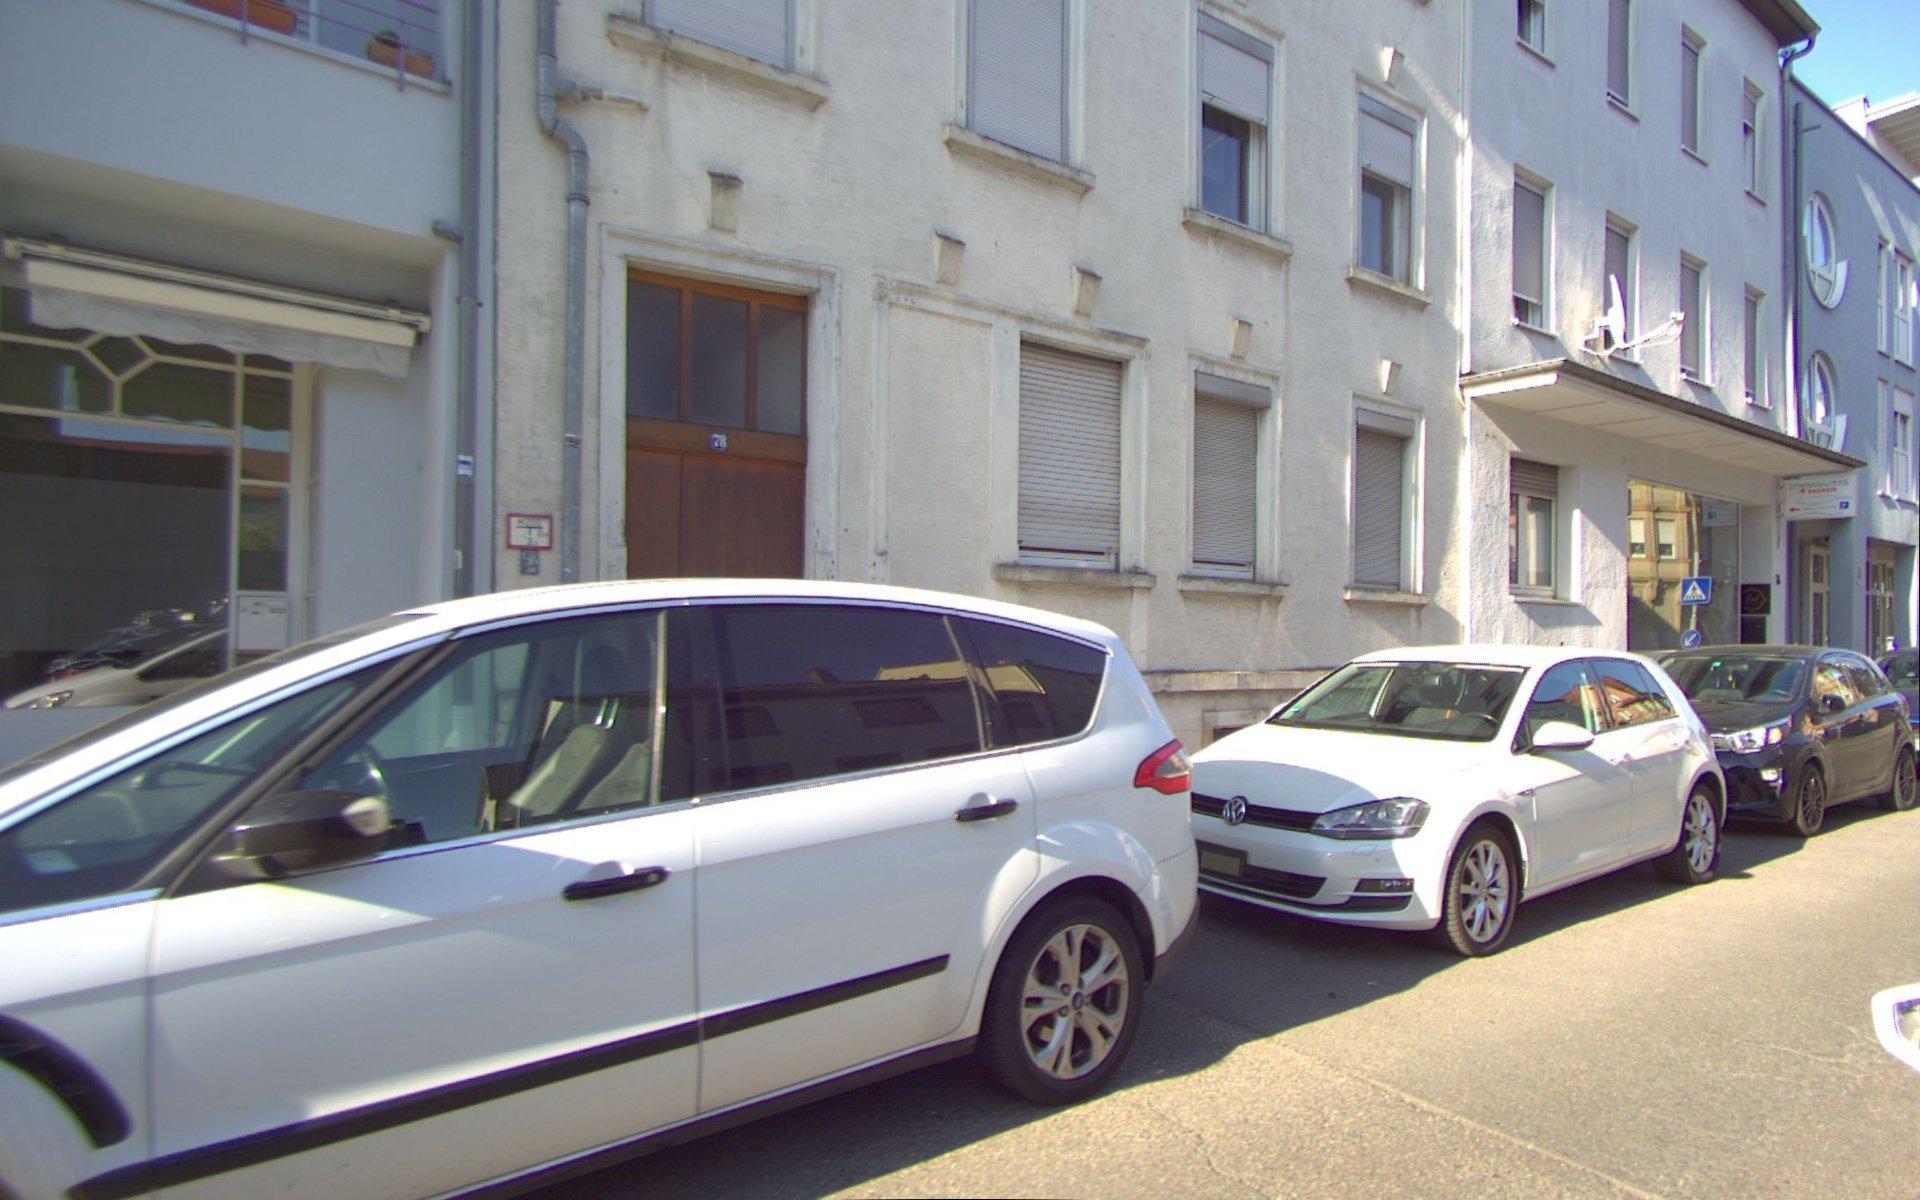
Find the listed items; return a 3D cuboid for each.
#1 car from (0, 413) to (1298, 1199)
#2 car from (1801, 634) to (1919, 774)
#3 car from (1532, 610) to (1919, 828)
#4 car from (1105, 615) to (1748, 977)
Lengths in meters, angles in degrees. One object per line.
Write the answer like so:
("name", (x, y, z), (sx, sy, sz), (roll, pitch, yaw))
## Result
("car", (-1.391, 0.546, 3.072), (5.172, 1.669, 1.980), (2, -1, -36))
("car", (12.068, 1.239, 12.278), (3.918, 1.519, 1.720), (3, -2, -34))
("car", (6.937, 0.924, 8.979), (3.769, 1.546, 1.650), (2, -1, -34))
("car", (2.984, 0.920, 6.142), (4.085, 1.515, 1.754), (2, -3, -35))
